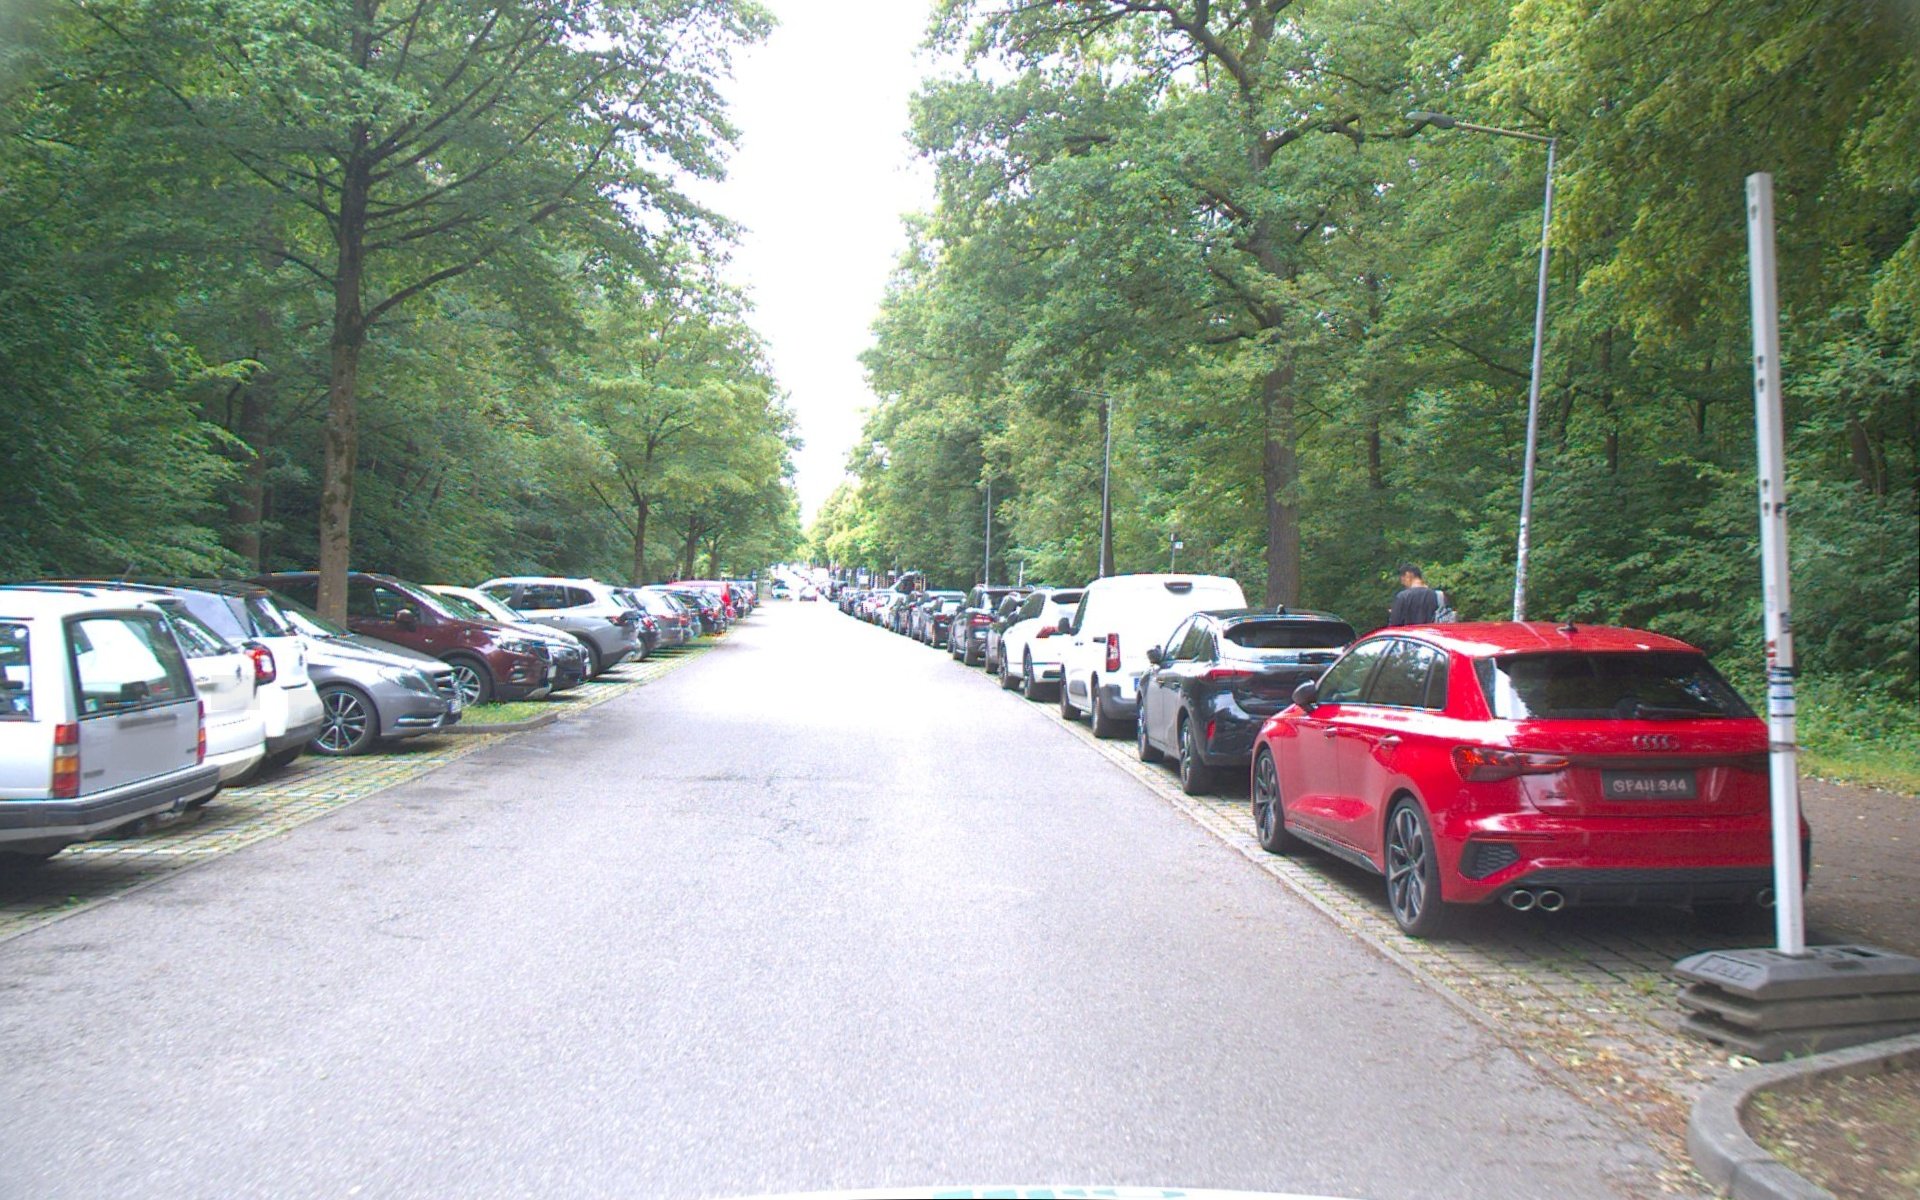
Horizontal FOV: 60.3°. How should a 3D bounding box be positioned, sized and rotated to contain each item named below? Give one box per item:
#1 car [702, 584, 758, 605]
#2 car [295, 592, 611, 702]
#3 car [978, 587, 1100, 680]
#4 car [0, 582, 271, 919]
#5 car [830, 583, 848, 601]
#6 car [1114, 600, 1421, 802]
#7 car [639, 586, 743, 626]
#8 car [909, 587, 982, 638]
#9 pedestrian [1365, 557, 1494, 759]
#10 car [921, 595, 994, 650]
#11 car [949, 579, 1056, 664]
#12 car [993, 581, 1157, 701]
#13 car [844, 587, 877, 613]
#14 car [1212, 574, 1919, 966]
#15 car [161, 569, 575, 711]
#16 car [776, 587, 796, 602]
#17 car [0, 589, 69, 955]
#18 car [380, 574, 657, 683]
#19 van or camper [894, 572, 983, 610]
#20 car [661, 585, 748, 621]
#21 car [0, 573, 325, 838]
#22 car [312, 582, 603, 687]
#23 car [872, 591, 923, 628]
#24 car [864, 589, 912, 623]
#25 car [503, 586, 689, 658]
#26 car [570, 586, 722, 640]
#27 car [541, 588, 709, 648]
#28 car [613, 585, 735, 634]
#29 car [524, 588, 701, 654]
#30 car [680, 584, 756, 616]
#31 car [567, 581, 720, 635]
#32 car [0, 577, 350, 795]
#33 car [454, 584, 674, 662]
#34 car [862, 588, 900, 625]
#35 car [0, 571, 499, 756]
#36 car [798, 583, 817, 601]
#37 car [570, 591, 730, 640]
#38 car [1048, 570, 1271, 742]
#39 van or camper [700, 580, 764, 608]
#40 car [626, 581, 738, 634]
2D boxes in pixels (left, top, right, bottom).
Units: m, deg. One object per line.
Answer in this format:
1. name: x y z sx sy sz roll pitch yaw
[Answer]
1. car: -15.620 -0.360 112.388 3.522 1.385 1.819 1 0 -18
2. car: -7.024 0.638 23.241 3.909 1.388 1.785 2 0 -6
3. car: 1.445 0.583 31.950 1.717 1.635 4.441 1 0 -5
4. car: -6.100 0.652 8.299 4.471 1.512 1.868 1 0 -3
5. car: -11.522 -0.774 157.220 1.597 1.440 3.407 2 3 -7
6. car: 2.522 0.766 14.602 1.691 1.447 4.281 1 0 -3
7. car: -10.576 0.229 65.279 3.909 1.500 2.113 1 0 -6
8. car: -0.526 0.377 54.042 1.940 1.564 4.615 1 0 -6
9. pedestrian: 4.249 0.506 15.042 0.801 1.756 1.003 2 0 -4
10. car: -0.126 0.620 48.207 1.606 1.503 4.144 1 0 -7
11. car: 0.889 0.431 37.645 1.853 1.777 4.943 1 0 -5
12. car: 1.707 0.563 26.098 1.751 1.691 4.711 1 0 -6
13. car: -6.188 -0.013 102.468 1.883 1.547 3.883 1 0 -5
14. car: 2.856 0.652 8.979 1.954 1.505 4.969 1 0 -3
15. car: -7.180 0.473 20.451 4.426 1.612 1.925 1 0 -5
16. car: -16.182 -0.520 153.918 1.705 1.182 3.409 2 3 -4
17. car: -6.033 0.669 5.954 4.475 1.472 2.083 1 0 -7
18. car: -7.363 0.467 27.950 4.141 1.661 2.027 2 0 -4
19. van or camper: -1.893 -0.794 143.278 7.216 2.938 2.635 1 3 -21
20. car: -11.595 0.144 75.151 3.758 1.563 1.869 1 0 -5
21. car: -6.644 0.577 10.478 4.473 1.512 1.939 1 0 -5
22. car: -7.693 0.517 25.619 3.942 1.490 1.798 1 0 -3
23. car: -2.742 0.408 71.743 1.900 1.501 3.986 1 0 -7
24. car: -3.383 0.260 77.376 1.690 1.520 3.764 1 0 -11
25. car: -8.310 0.494 38.123 4.012 1.550 1.926 1 0 -8
26. car: -9.079 0.357 48.007 4.218 1.474 1.752 1 0 -11
27. car: -8.667 0.453 43.053 4.028 1.456 1.963 1 0 -4
28. car: -9.580 0.307 55.500 3.914 1.557 1.995 1 0 -10
29. car: -8.466 0.499 40.580 4.030 1.506 1.994 1 0 -7
30. car: -13.118 -0.013 89.809 3.909 1.669 2.007 1 0 -5
31. car: -10.088 0.258 52.979 4.641 1.623 1.957 1 0 -7
32. car: -7.159 0.620 12.920 4.156 1.577 1.844 1 0 -9
33. car: -8.460 0.475 35.620 4.313 1.514 1.836 2 0 -4
34. car: -3.983 0.320 82.948 1.677 1.758 3.996 1 0 -5
35. car: -6.555 0.564 15.564 3.955 1.582 1.918 1 0 -6
36. car: -14.107 -0.717 152.539 1.658 1.440 3.150 2 3 -7
37. car: -9.372 0.462 50.337 4.641 1.367 1.984 1 0 -7
38. car: 2.253 0.579 19.917 1.710 1.811 4.547 1 0 -5
39. van or camper: -16.982 -0.444 123.312 4.409 1.900 1.909 1 3 -21
40. car: -10.118 0.256 60.457 3.913 1.848 2.111 1 0 -9
